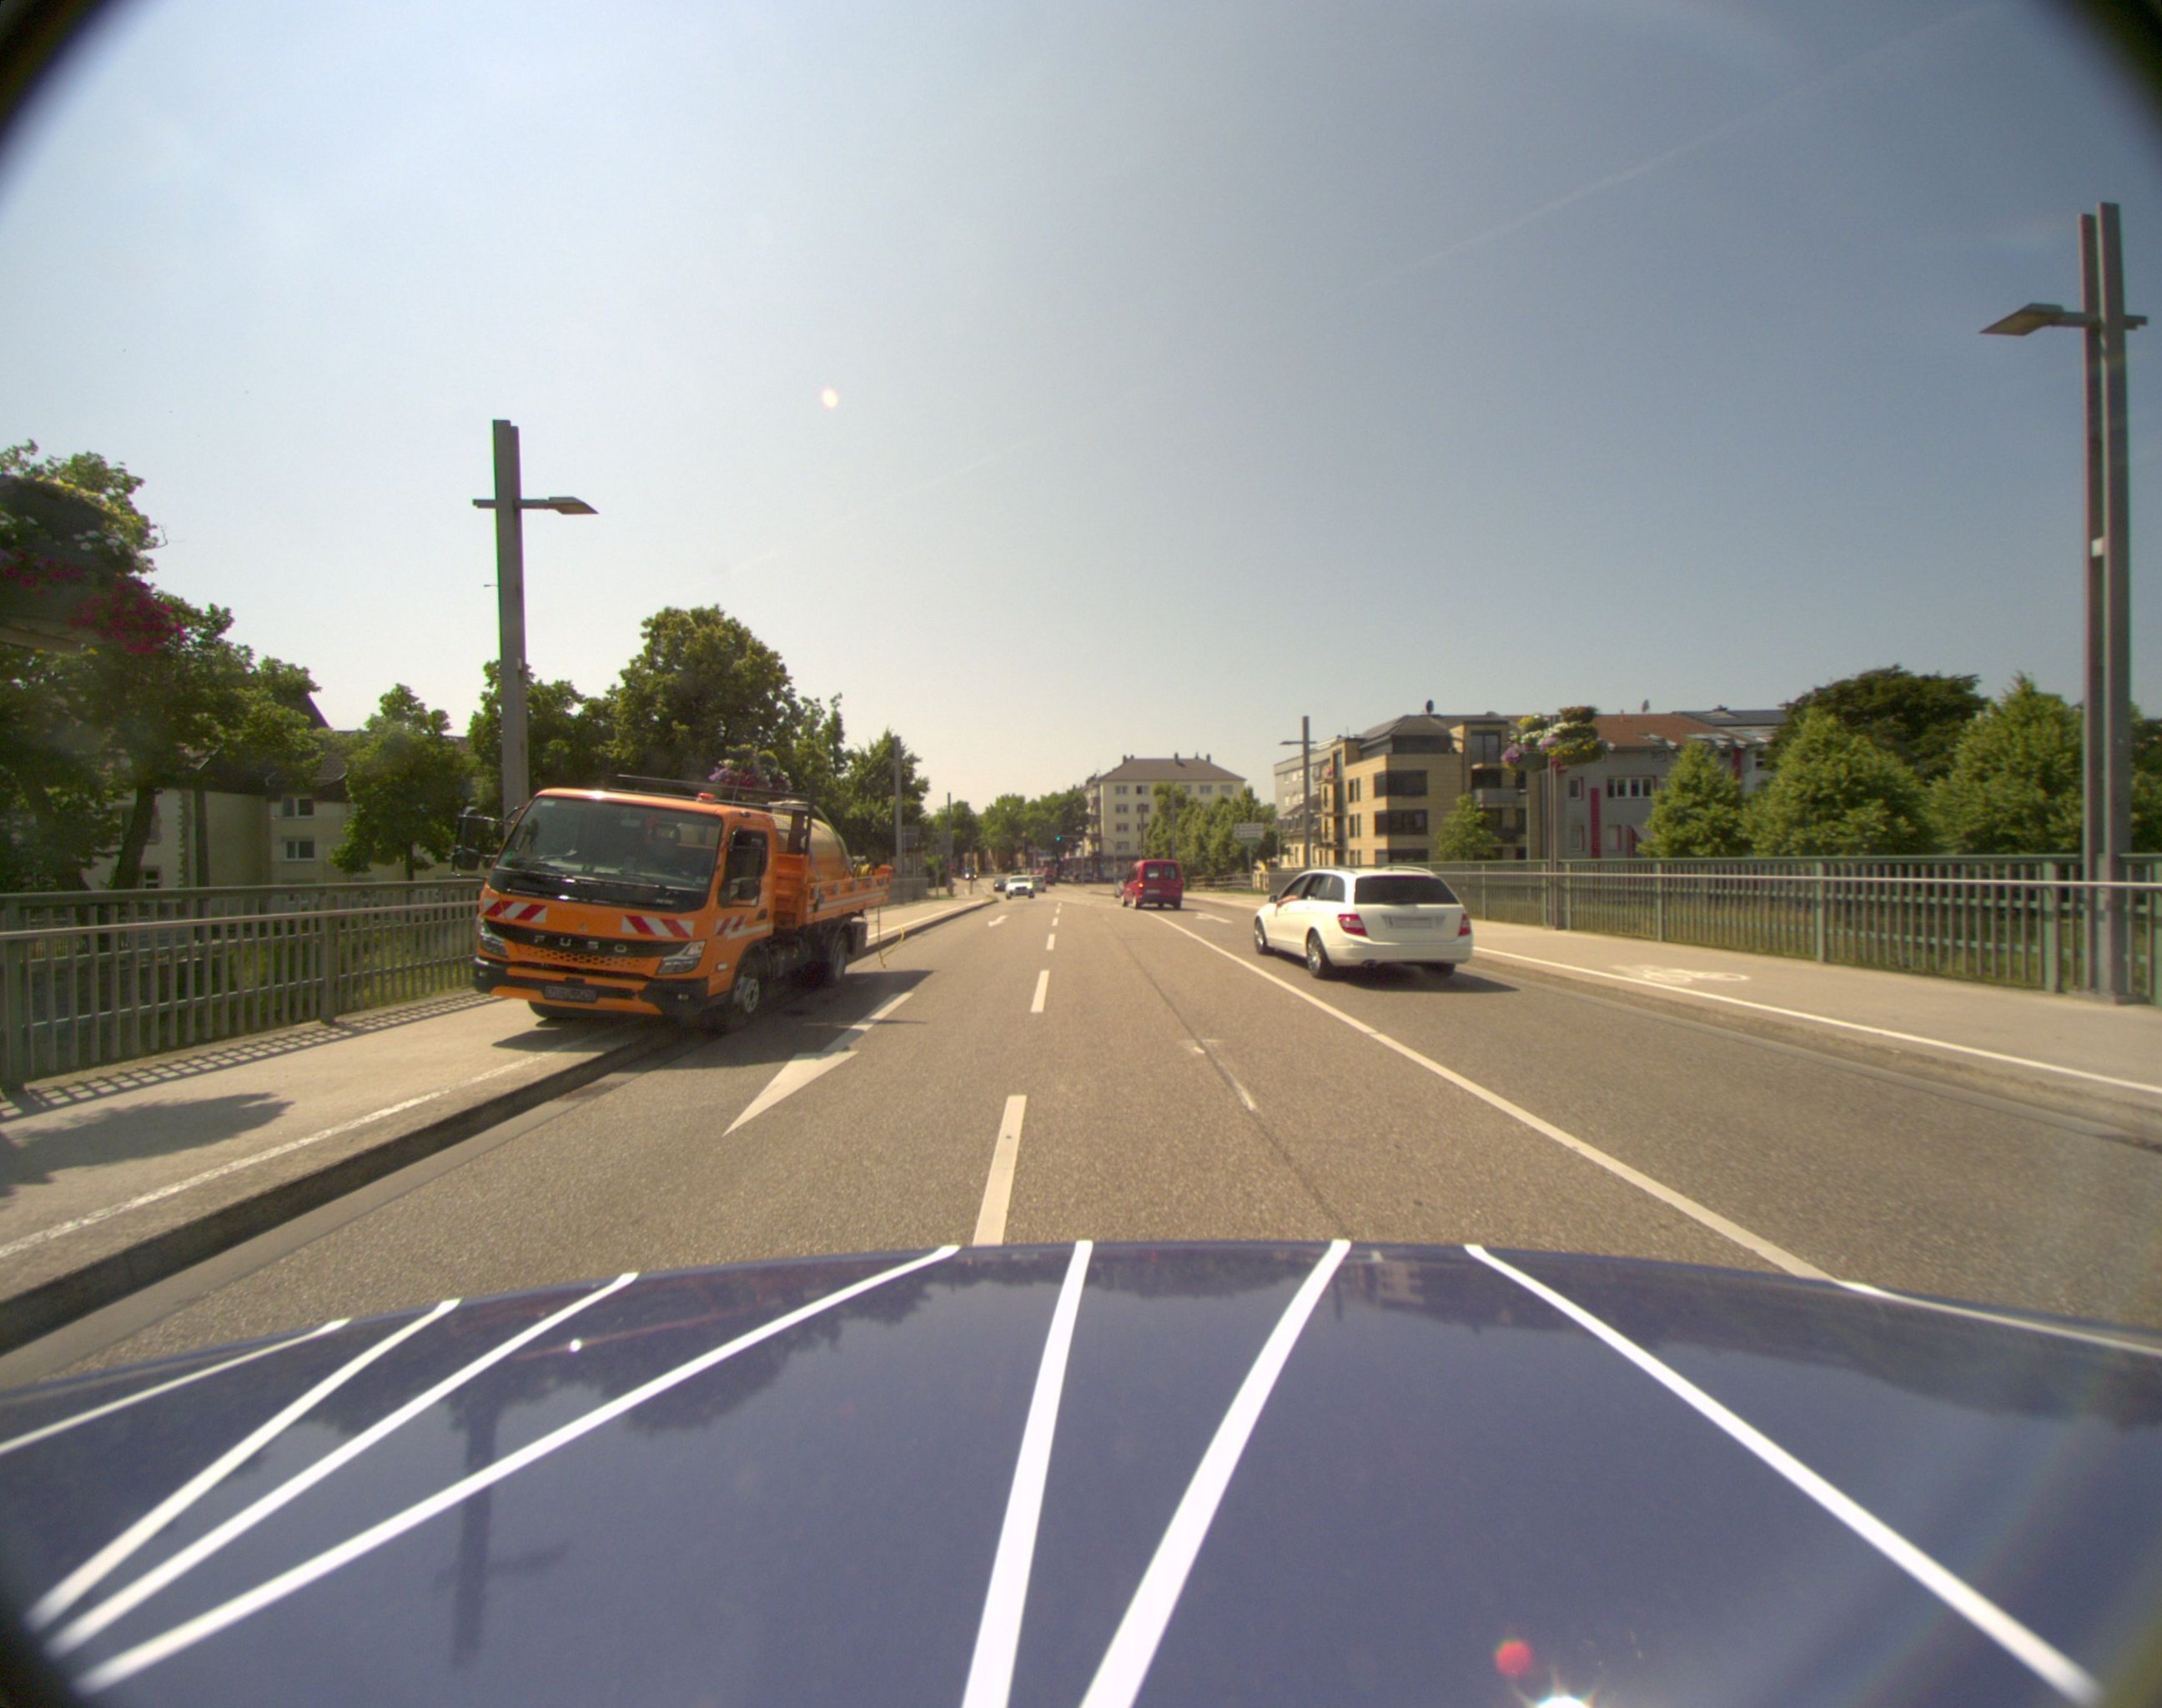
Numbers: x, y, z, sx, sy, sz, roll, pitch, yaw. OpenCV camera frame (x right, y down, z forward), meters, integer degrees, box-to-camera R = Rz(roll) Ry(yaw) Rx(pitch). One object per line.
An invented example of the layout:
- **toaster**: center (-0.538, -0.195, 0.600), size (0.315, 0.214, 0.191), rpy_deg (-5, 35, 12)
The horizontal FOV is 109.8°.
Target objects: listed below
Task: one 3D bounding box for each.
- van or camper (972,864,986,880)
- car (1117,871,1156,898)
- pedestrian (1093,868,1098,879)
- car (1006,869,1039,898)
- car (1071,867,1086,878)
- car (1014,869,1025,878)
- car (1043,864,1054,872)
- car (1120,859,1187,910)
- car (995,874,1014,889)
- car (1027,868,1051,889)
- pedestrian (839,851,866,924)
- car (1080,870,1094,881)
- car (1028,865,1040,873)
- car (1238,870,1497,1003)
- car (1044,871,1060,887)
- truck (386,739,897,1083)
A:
- **van or camper**: center (-18.045, 3.092, 134.177), size (2.166, 2.567, 5.840), rpy_deg (-2, 1, -9)
- **car**: center (3.005, 1.638, 42.022), size (1.703, 1.350, 4.456), rpy_deg (2, -2, -2)
- **pedestrian**: center (2.309, 3.070, 122.189), size (0.629, 1.749, 0.742), rpy_deg (-1, 0, -9)
- **car**: center (-4.173, 2.015, 53.525), size (2.000, 1.740, 4.442), rpy_deg (-3, 1, -8)
- **car**: center (-0.435, 3.017, 125.537), size (1.627, 1.560, 4.835), rpy_deg (-1, 0, -9)
- **car**: center (-11.220, 3.494, 138.673), size (1.719, 1.477, 4.028), rpy_deg (-3, 1, -8)
- **car**: center (-6.188, 2.664, 142.810), size (1.640, 1.459, 3.631), rpy_deg (-1, 0, -9)
- **car**: center (2.600, 1.141, 28.205), size (1.741, 1.765, 4.176), rpy_deg (0, -2, -5)
- **car**: center (-8.716, 3.095, 86.164), size (1.777, 1.480, 3.995), rpy_deg (-3, 1, -11)
- **car**: center (-4.506, 2.602, 80.817), size (1.843, 1.850, 4.658), rpy_deg (-5, 2, -10)
- **pedestrian**: center (-6.238, 0.904, 20.770), size (0.548, 1.948, 0.672), rpy_deg (-1, 1, -7)
- **car**: center (0.922, 3.317, 117.708), size (1.587, 1.450, 3.936), rpy_deg (-1, 0, -9)
- **car**: center (-10.197, 3.229, 163.425), size (1.915, 1.511, 4.329), rpy_deg (-1, 0, -12)
- **car**: center (3.753, 0.986, 11.021), size (1.849, 1.424, 4.713), rpy_deg (0, 0, -2)
- **car**: center (-3.798, 3.299, 100.124), size (1.742, 1.632, 3.916), rpy_deg (5, 4, -6)
- **truck**: center (-4.157, 0.469, 8.901), size (2.612, 2.675, 5.823), rpy_deg (-1, 0, -1)
